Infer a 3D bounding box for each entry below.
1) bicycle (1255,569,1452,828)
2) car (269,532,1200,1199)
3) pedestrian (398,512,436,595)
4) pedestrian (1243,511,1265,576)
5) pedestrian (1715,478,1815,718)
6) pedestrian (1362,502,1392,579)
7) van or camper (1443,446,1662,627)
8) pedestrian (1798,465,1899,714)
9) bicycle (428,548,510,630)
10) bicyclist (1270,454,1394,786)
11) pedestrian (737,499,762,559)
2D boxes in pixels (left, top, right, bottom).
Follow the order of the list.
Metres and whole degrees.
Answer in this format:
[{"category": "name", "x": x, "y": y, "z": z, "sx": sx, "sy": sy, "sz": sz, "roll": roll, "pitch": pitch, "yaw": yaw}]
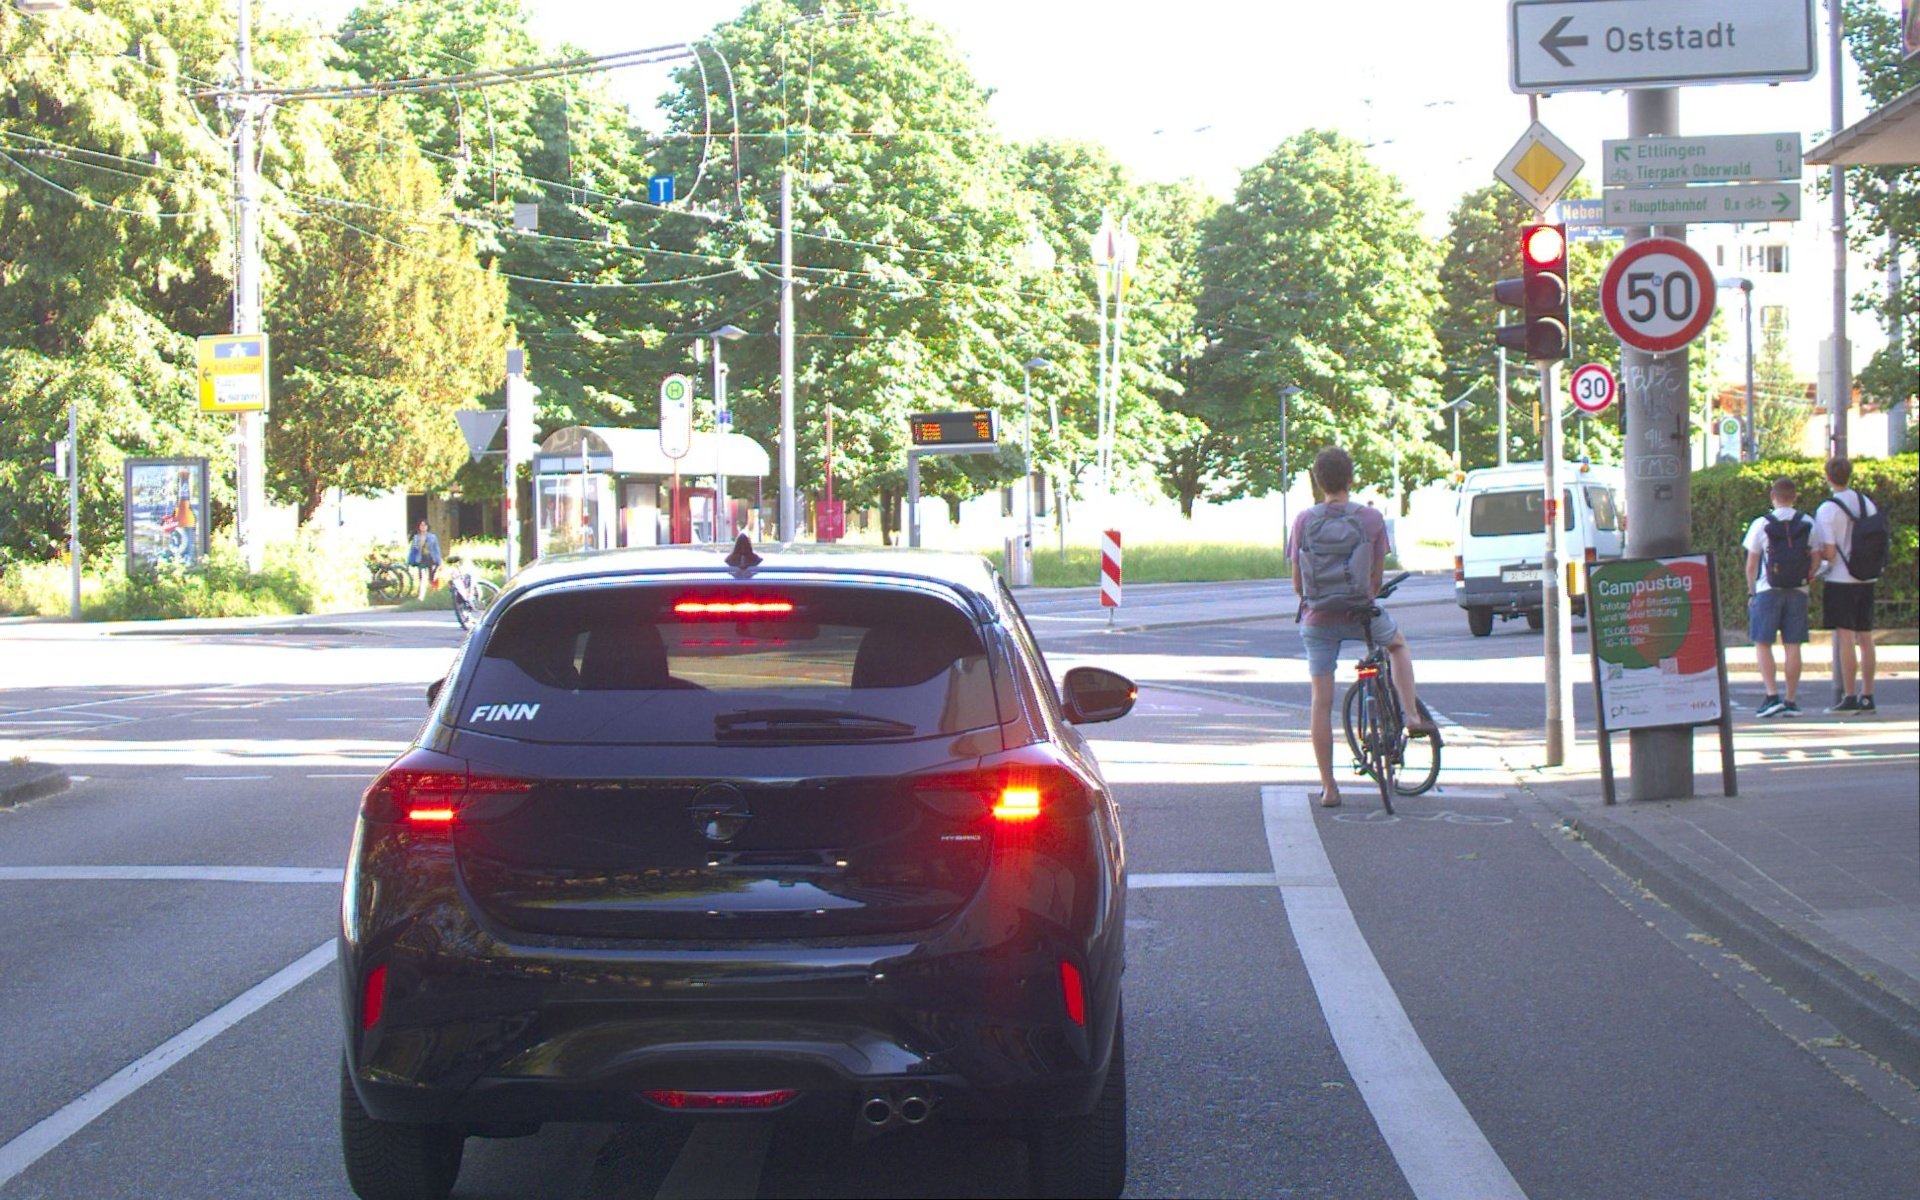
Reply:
[{"category": "bicycle", "x": 2.073, "y": 0.473, "z": 17.892, "sx": 0.753, "sy": 1.231, "sz": 2.014, "roll": 0, "pitch": 1, "yaw": 14}, {"category": "car", "x": -0.469, "y": 0.567, "z": 8.808, "sx": 1.840, "sy": 1.457, "sz": 3.984, "roll": 0, "pitch": 1, "yaw": -1}, {"category": "pedestrian", "x": -9.634, "y": -0.831, "z": 60.997, "sx": 0.570, "sy": 1.467, "sz": 0.666, "roll": -1, "pitch": 1, "yaw": -1}, {"category": "pedestrian", "x": 8.497, "y": -1.631, "z": 99.368, "sx": 0.604, "sy": 1.865, "sz": 0.519, "roll": 1, "pitch": 0, "yaw": 6}, {"category": "pedestrian", "x": 5.996, "y": -0.019, "z": 25.601, "sx": 0.633, "sy": 1.757, "sz": 0.582, "roll": 1, "pitch": 0, "yaw": 20}, {"category": "pedestrian", "x": 10.255, "y": -1.458, "z": 84.535, "sx": 0.604, "sy": 1.865, "sz": 0.519, "roll": 1, "pitch": 0, "yaw": 17}, {"category": "van or camper", "x": 8.037, "y": -0.838, "z": 46.281, "sx": 2.031, "sy": 2.302, "sz": 4.535, "roll": 1, "pitch": 1, "yaw": 21}, {"category": "pedestrian", "x": 6.587, "y": -0.081, "z": 25.474, "sx": 0.633, "sy": 1.814, "sz": 0.744, "roll": 1, "pitch": 0, "yaw": 20}, {"category": "bicycle", "x": -6.594, "y": -0.162, "z": 46.280, "sx": 0.796, "sy": 1.061, "sz": 2.185, "roll": 0, "pitch": 1, "yaw": -1}, {"category": "bicyclist", "x": 1.926, "y": 0.095, "z": 17.775, "sx": 0.534, "sy": 1.686, "sz": 0.567, "roll": 0, "pitch": 1, "yaw": 17}, {"category": "pedestrian", "x": -6.632, "y": -2.228, "z": 108.334, "sx": 0.737, "sy": 1.865, "sz": 0.662, "roll": 1, "pitch": 0, "yaw": -6}]
